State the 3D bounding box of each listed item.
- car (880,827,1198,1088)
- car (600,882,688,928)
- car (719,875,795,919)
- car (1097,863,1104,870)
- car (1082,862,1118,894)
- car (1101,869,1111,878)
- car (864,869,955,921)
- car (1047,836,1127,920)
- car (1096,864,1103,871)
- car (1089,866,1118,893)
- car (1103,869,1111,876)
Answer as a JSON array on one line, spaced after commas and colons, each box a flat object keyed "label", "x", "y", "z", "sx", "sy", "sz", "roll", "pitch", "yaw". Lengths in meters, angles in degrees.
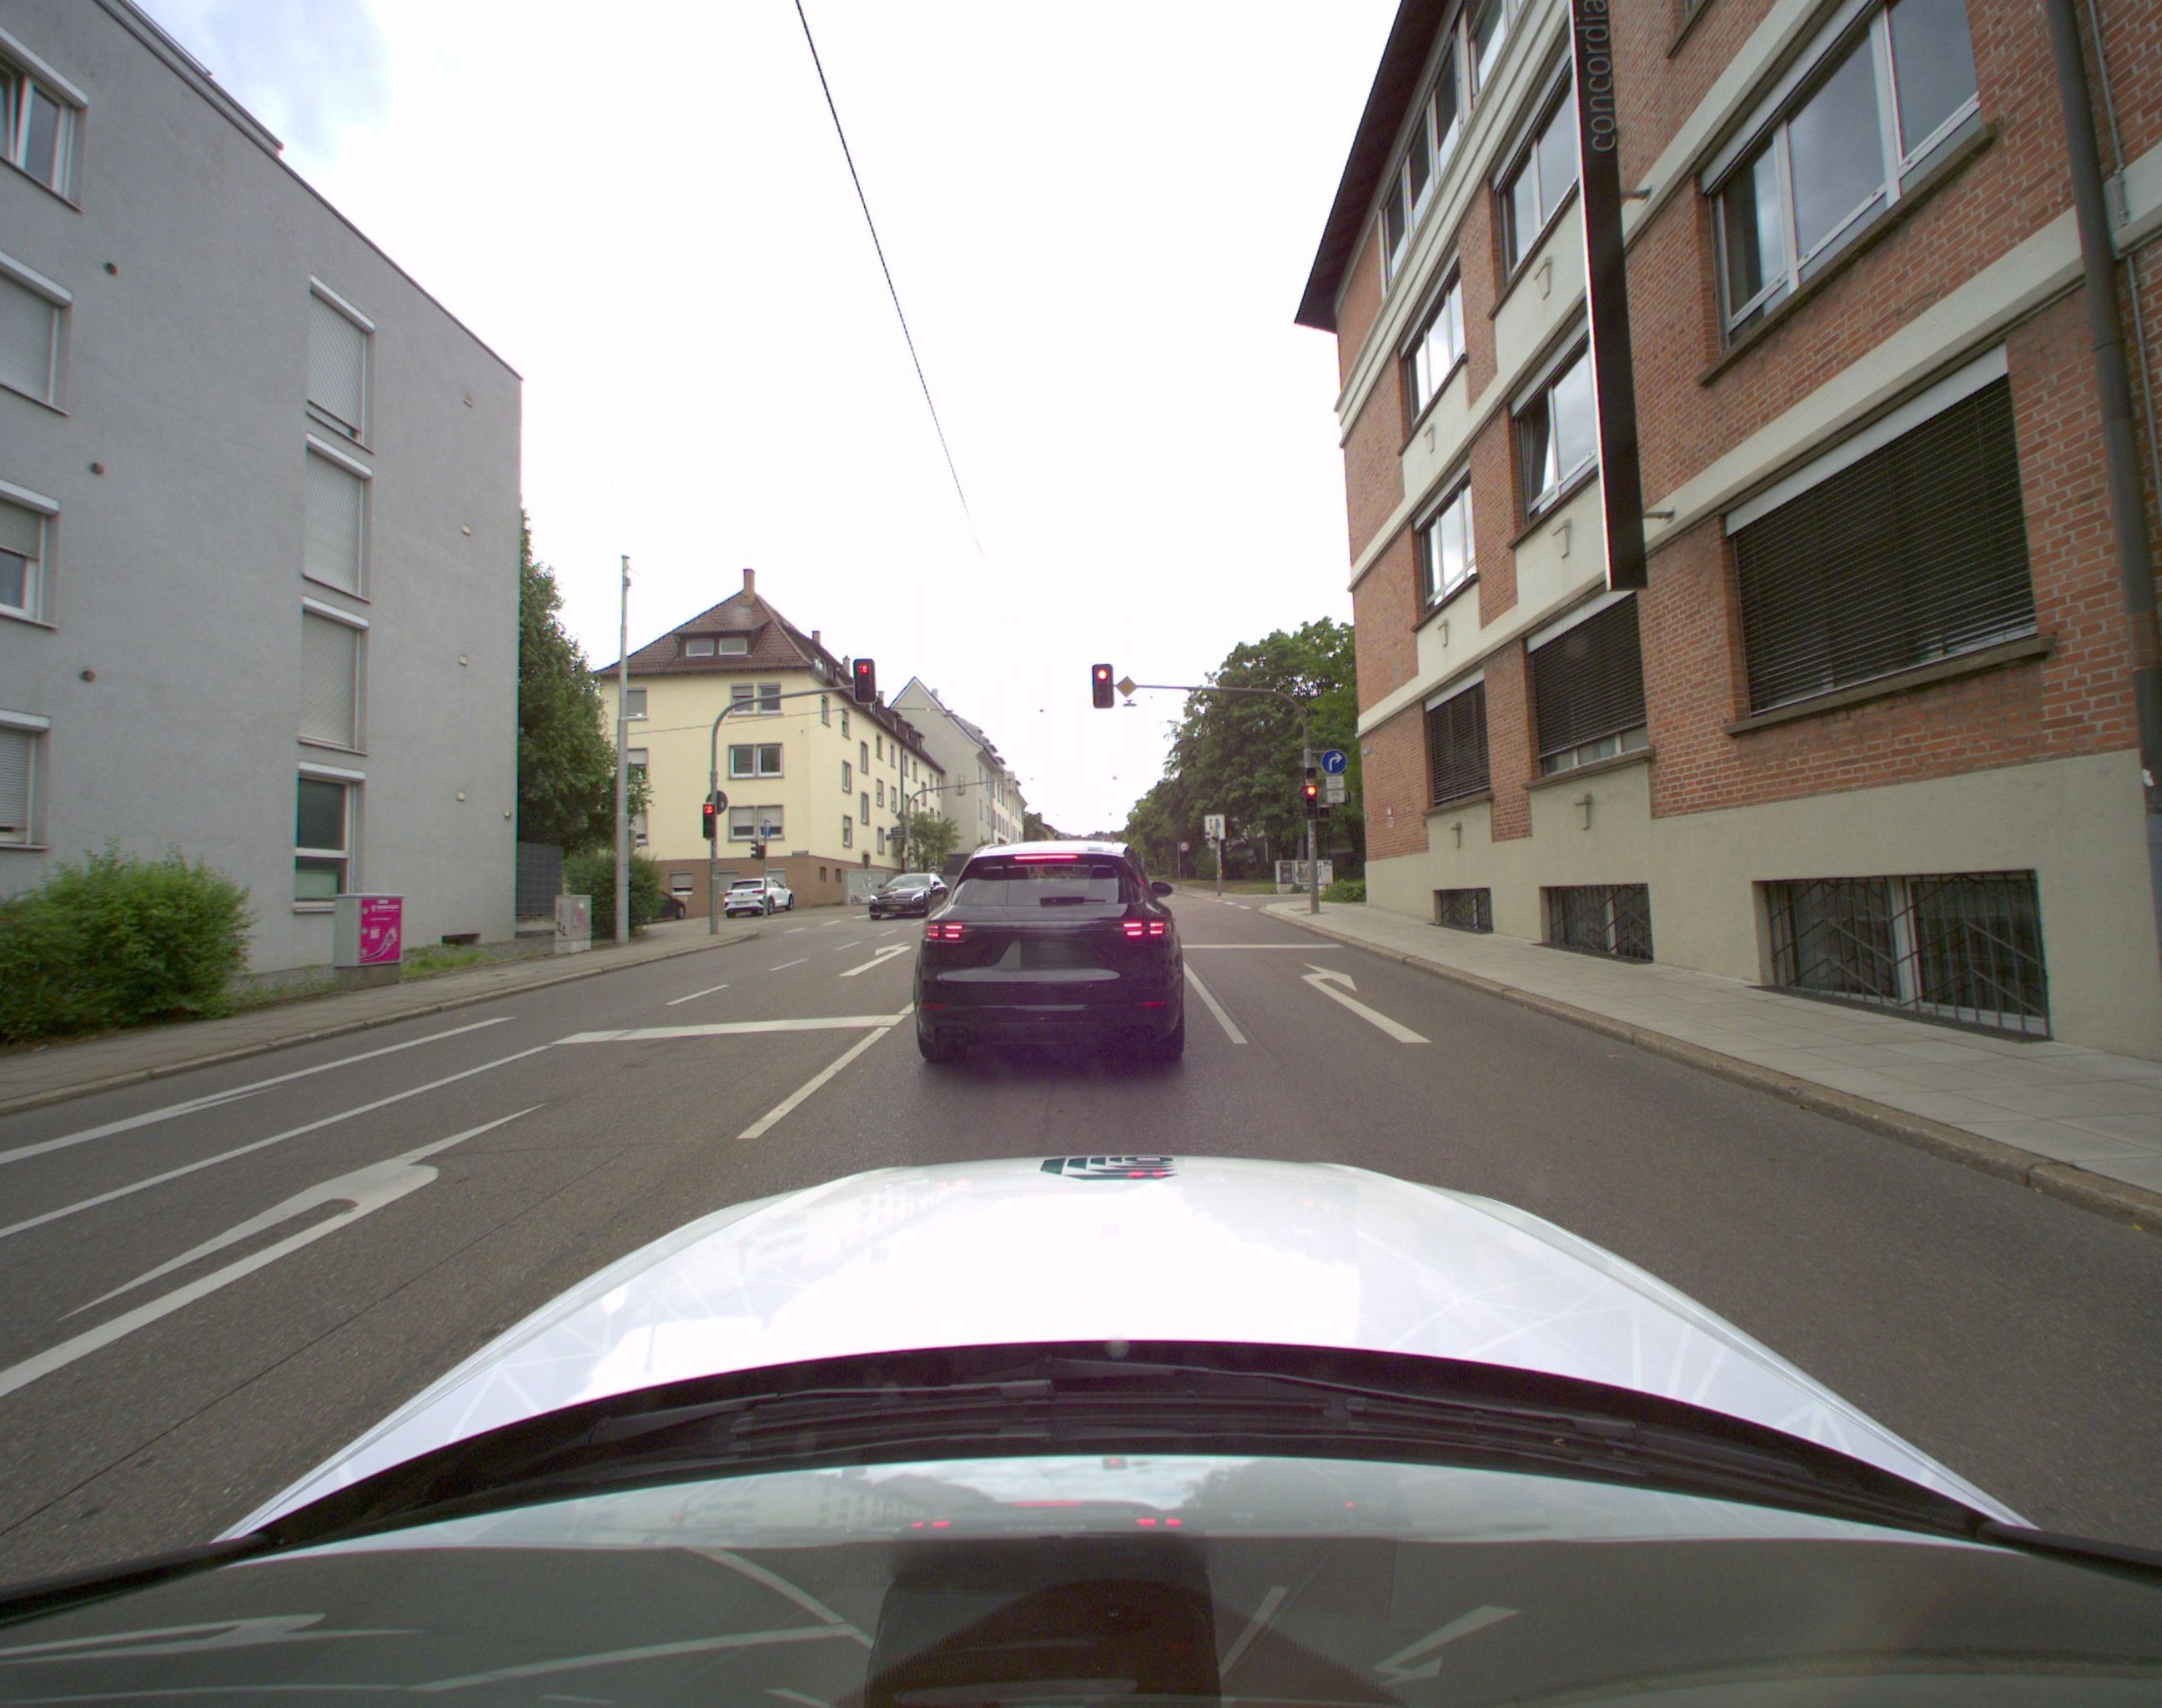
[{"label": "car", "x": -0.195, "y": 0.669, "z": 7.368, "sx": 2.040, "sy": 1.666, "sz": 4.269, "roll": 0, "pitch": 0, "yaw": 2}, {"label": "car", "x": -18.495, "y": 2.127, "z": 34.659, "sx": 1.686, "sy": 1.608, "sz": 3.763, "roll": -4, "pitch": 0, "yaw": -2}, {"label": "car", "x": -13.531, "y": 1.761, "z": 34.207, "sx": 1.686, "sy": 1.555, "sz": 3.763, "roll": -4, "pitch": 0, "yaw": -2}, {"label": "car", "x": 5.069, "y": 3.258, "z": 210.397, "sx": 1.820, "sy": 1.605, "sz": 4.137, "roll": 0, "pitch": 0, "yaw": 2}, {"label": "car", "x": 1.054, "y": 1.254, "z": 43.952, "sx": 1.820, "sy": 1.605, "sz": 4.137, "roll": 0, "pitch": 0, "yaw": 2}, {"label": "car", "x": 4.981, "y": 3.883, "z": 162.178, "sx": 1.820, "sy": 1.605, "sz": 4.137, "roll": 0, "pitch": 0, "yaw": 2}, {"label": "car", "x": -5.512, "y": 1.272, "z": 26.772, "sx": 1.778, "sy": 1.418, "sz": 4.672, "roll": -4, "pitch": -1, "yaw": 2}, {"label": "car", "x": 0.230, "y": 0.583, "z": 22.043, "sx": 1.957, "sy": 2.042, "sz": 4.137, "roll": 0, "pitch": 0, "yaw": 2}, {"label": "car", "x": 4.651, "y": 3.282, "z": 203.075, "sx": 1.820, "sy": 1.605, "sz": 4.137, "roll": 0, "pitch": 0, "yaw": 2}, {"label": "car", "x": 1.468, "y": 1.634, "z": 52.659, "sx": 1.820, "sy": 1.605, "sz": 3.860, "roll": 0, "pitch": 0, "yaw": 2}, {"label": "car", "x": 5.862, "y": 4.116, "z": 182.553, "sx": 1.820, "sy": 1.605, "sz": 4.137, "roll": 0, "pitch": 0, "yaw": 2}]
